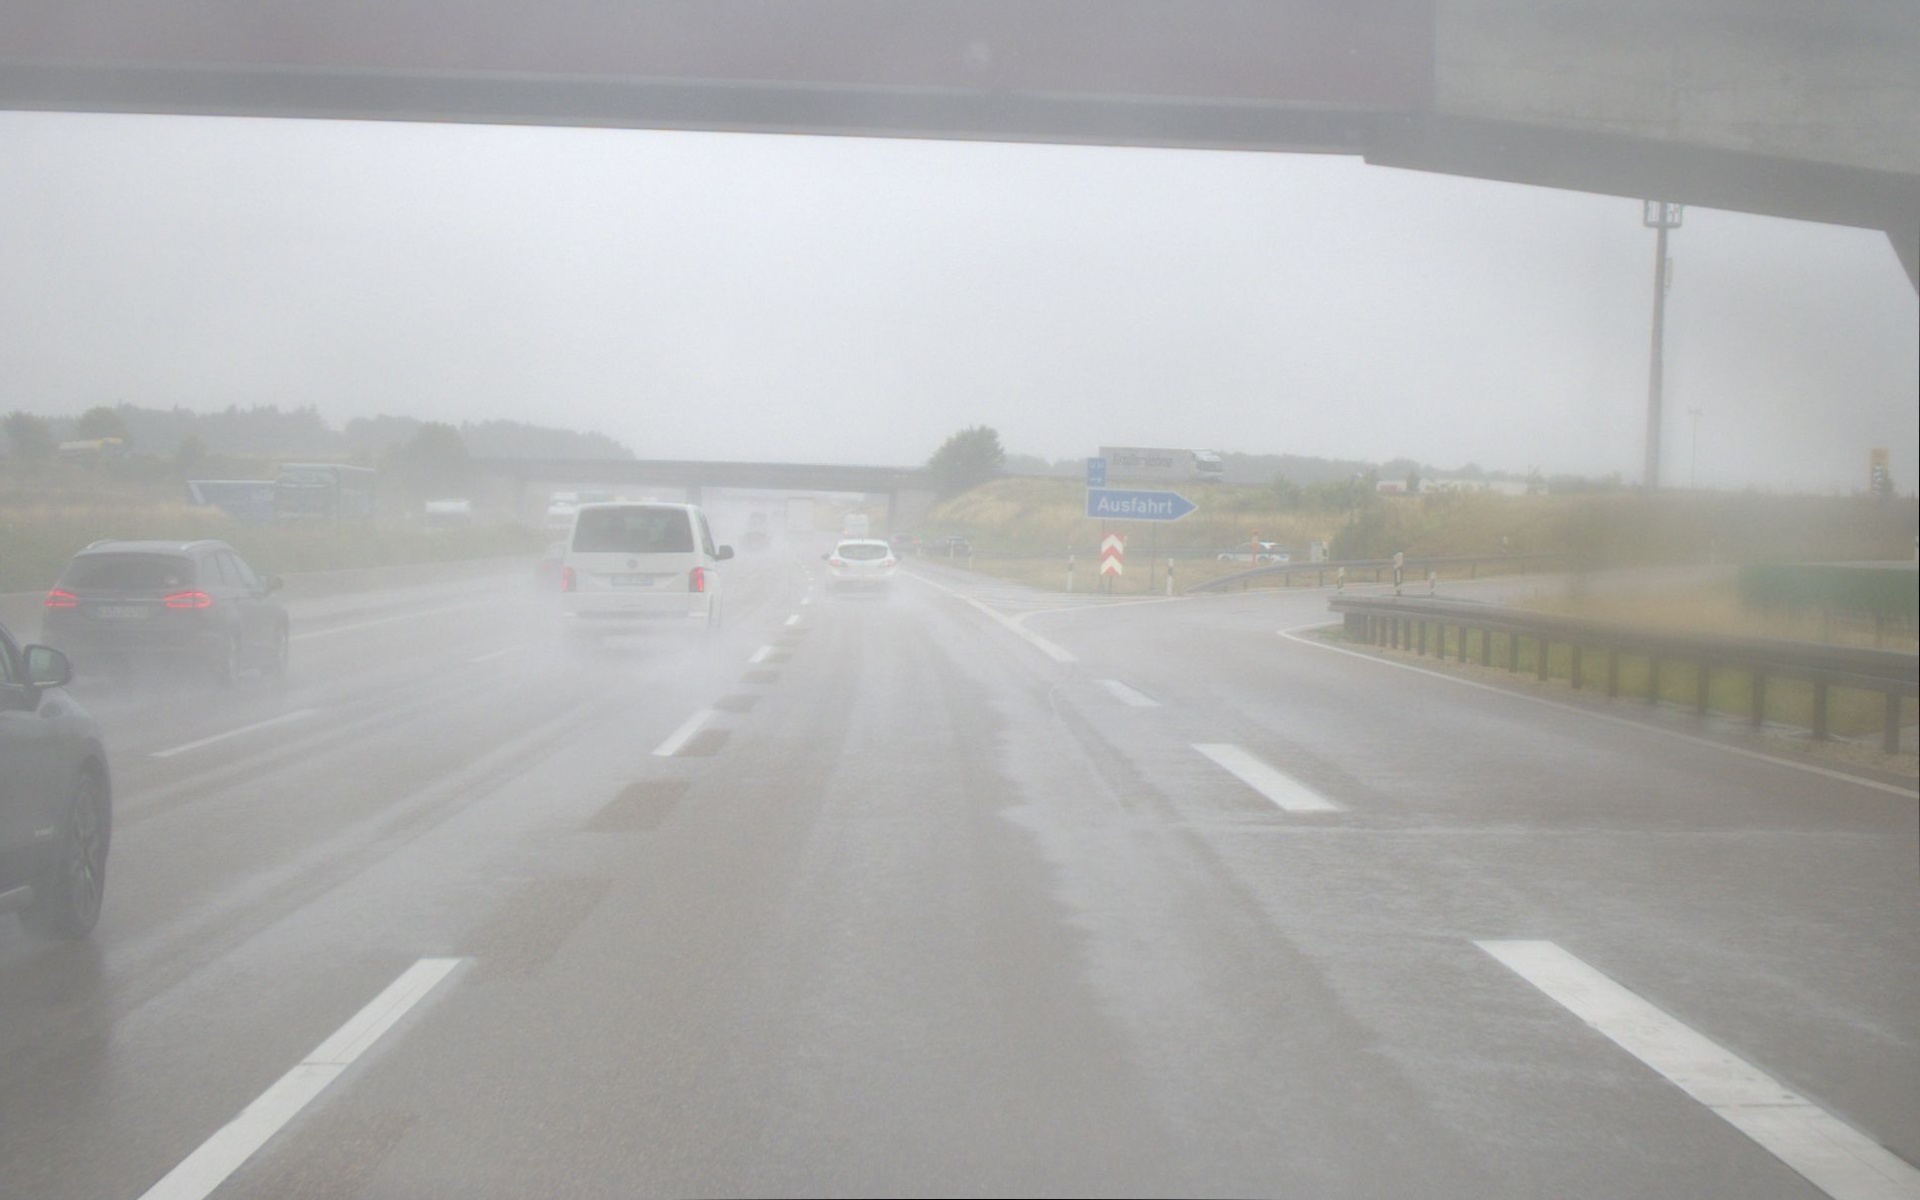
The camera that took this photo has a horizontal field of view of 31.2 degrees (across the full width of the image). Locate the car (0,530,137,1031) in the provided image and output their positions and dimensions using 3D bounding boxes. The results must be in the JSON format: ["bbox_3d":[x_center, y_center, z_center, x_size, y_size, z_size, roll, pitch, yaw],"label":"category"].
[{"bbox_3d":[-3.957,0.517,11.437,1.846,1.508,4.758,1,1,-7],"label":"car"}]

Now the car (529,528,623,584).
[{"bbox_3d":[-8.917,-1.020,80.014,1.468,1.253,3.339,1,1,6],"label":"car"}]

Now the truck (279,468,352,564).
[{"bbox_3d":[-27.177,-3.530,145.098,2.213,3.970,5.185,1,1,-2],"label":"truck"}]

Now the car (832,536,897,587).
[{"bbox_3d":[-2.302,-0.949,83.373,1.468,1.204,2.991,1,1,1],"label":"car"}]

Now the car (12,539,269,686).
[{"bbox_3d":[-8.087,0.084,34.239,1.612,1.349,4.000,1,1,0],"label":"car"}]

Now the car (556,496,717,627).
[{"bbox_3d":[-4.160,-0.507,44.721,1.897,1.580,4.001,1,1,-3],"label":"car"}]
